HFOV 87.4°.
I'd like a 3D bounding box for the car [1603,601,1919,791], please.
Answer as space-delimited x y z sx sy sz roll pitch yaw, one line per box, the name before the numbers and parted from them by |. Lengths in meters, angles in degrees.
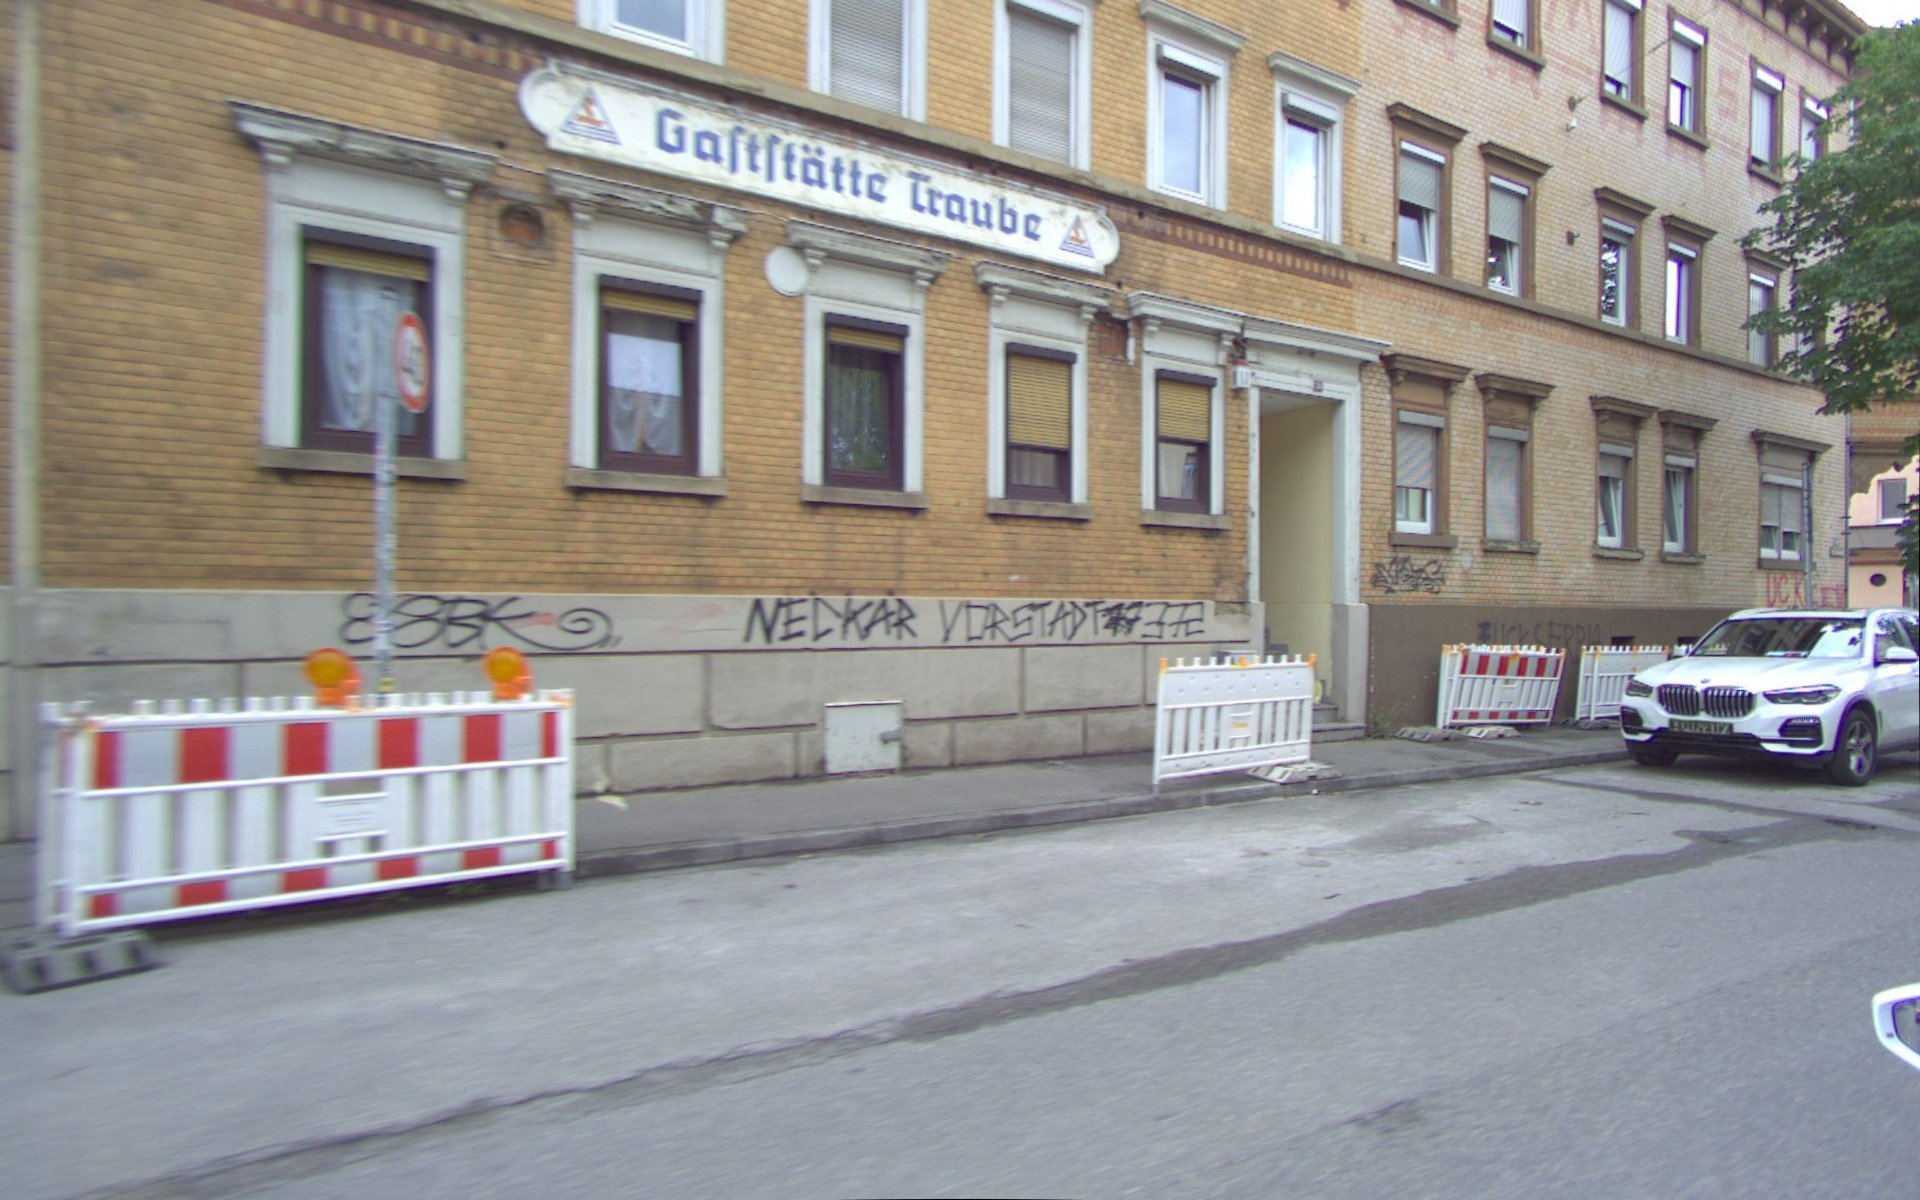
car | 9.428 0.957 11.185 4.685 1.735 1.882 1 -3 -30
